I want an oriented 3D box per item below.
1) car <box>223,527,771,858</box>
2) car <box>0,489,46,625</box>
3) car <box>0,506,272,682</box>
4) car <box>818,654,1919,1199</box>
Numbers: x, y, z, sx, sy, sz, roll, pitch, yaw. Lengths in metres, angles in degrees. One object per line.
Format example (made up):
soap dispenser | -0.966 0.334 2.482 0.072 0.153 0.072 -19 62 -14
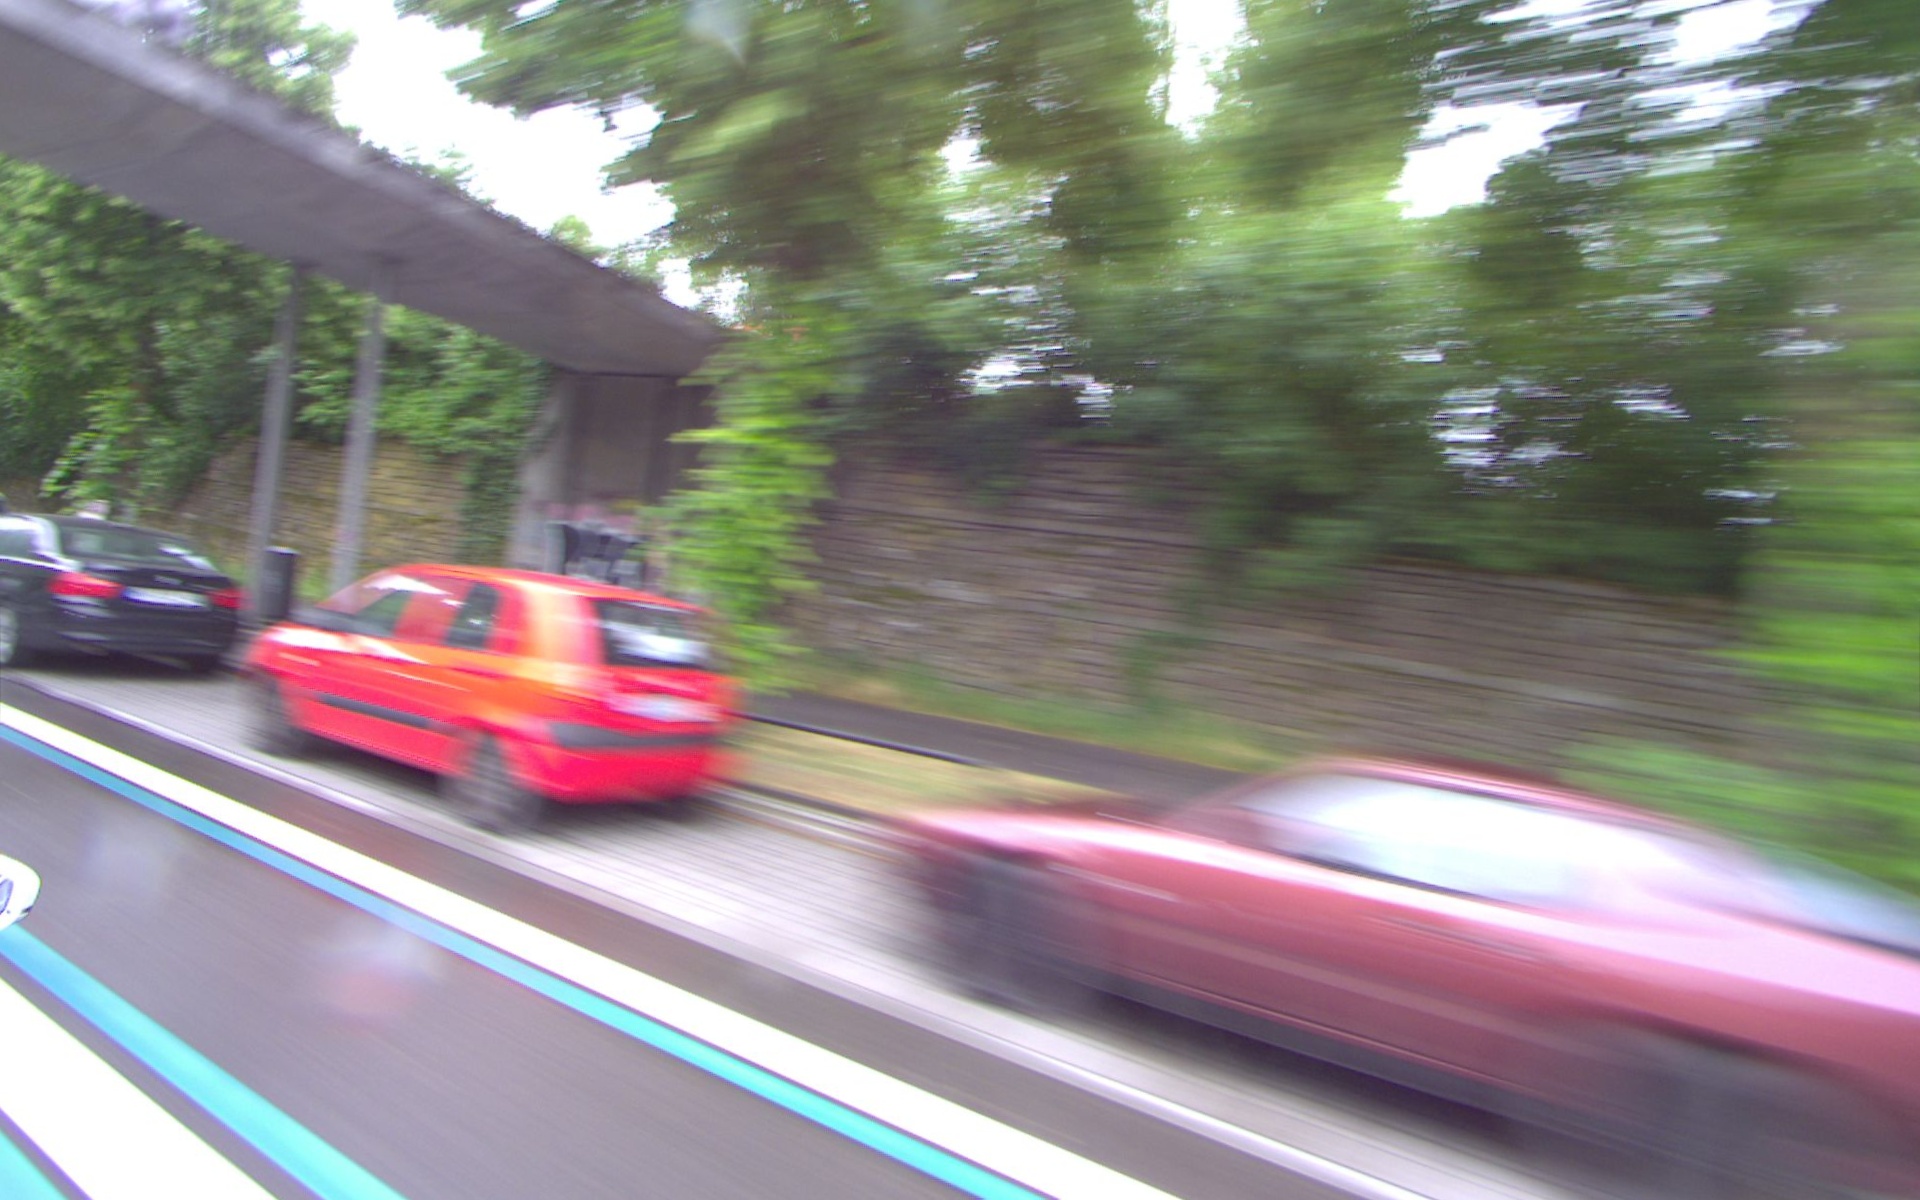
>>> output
car | -3.256 0.496 6.924 3.564 1.484 1.562 8 -1 31
car | -13.844 -0.768 12.956 4.188 1.638 1.717 6 -2 29
car | -9.108 -0.144 10.227 4.375 1.410 1.676 5 -2 30
car | 1.612 1.157 4.155 4.112 1.204 1.629 8 -1 30
